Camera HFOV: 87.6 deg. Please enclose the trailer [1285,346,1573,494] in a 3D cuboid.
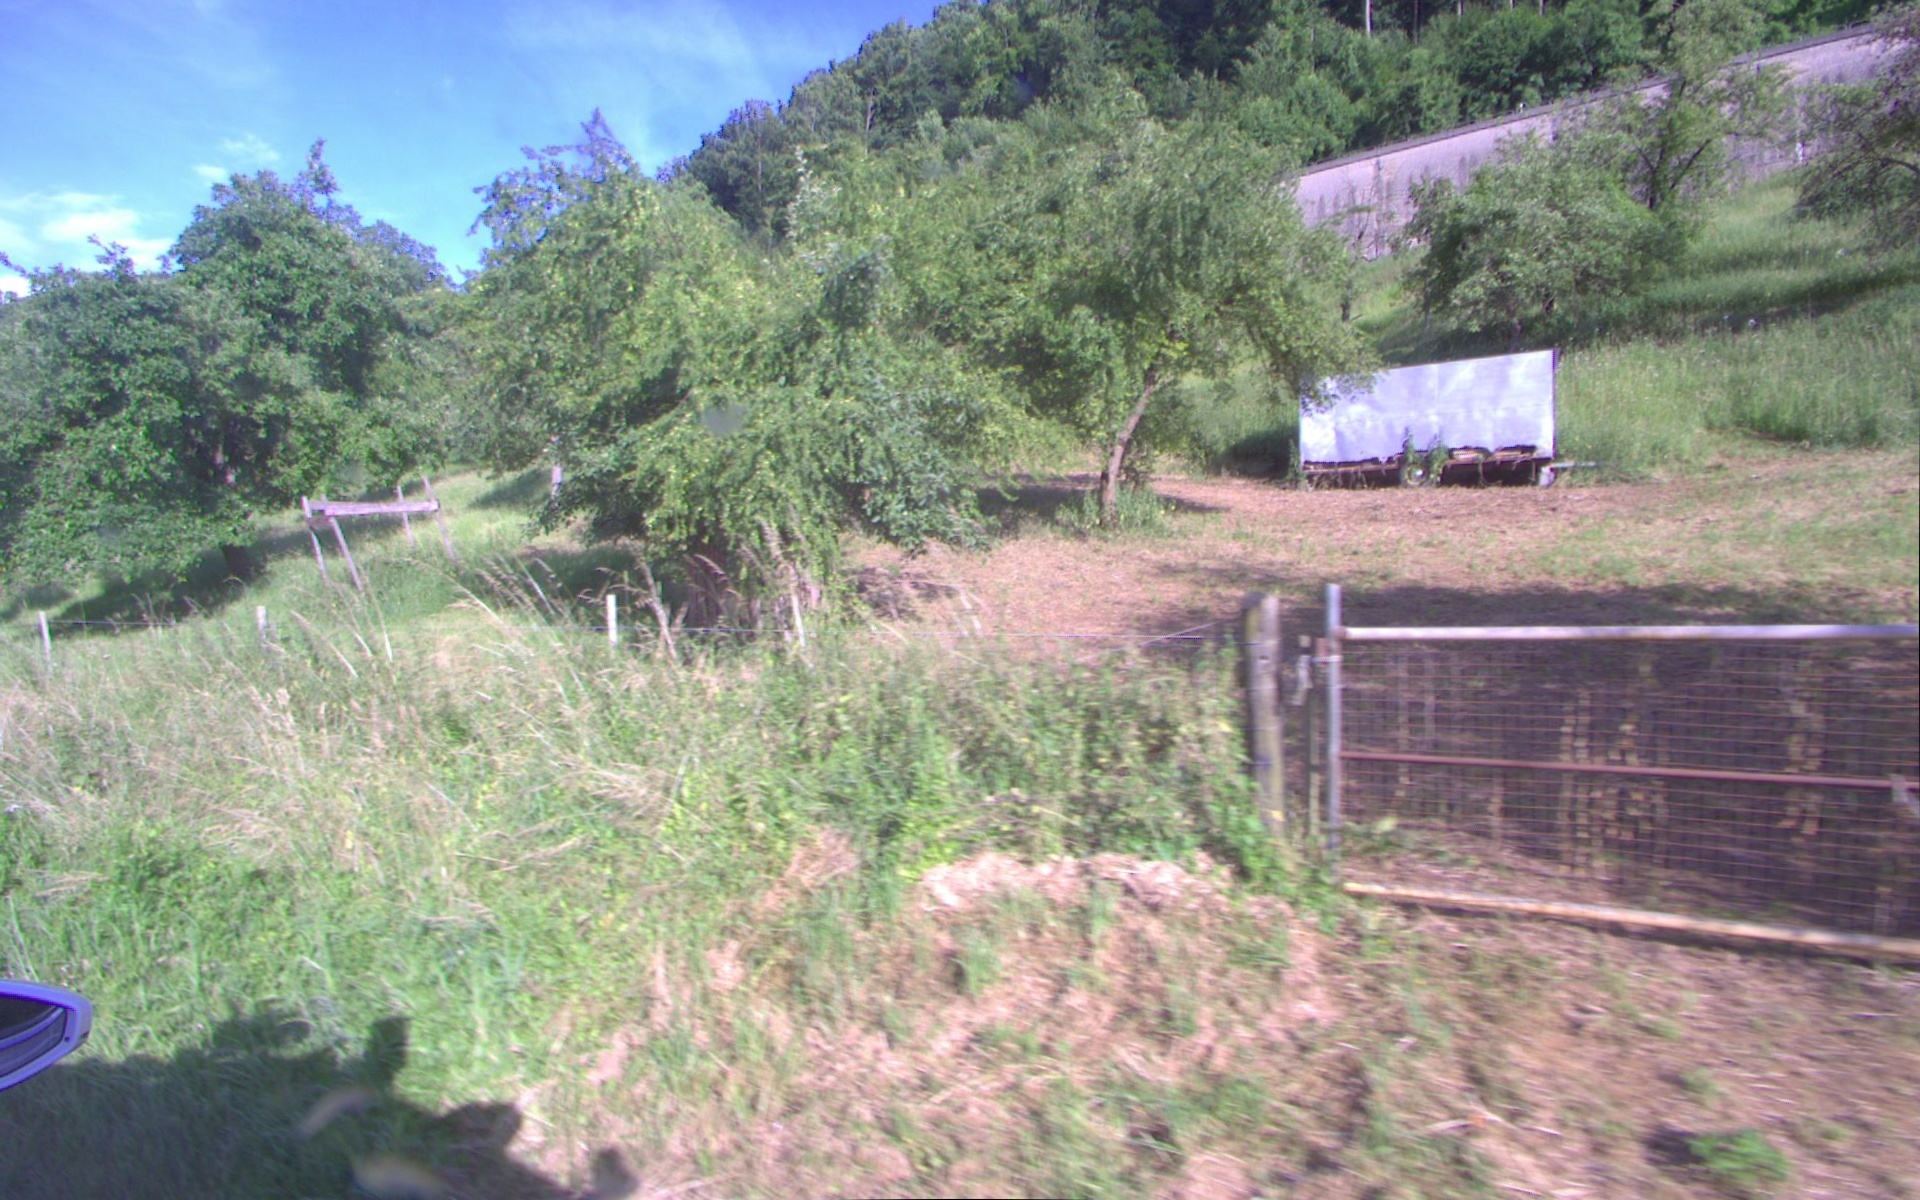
[{"bbox_3d":[9.784,-3.637,21.154,5.164,2.595,2.149,3,4,29],"label":"trailer"}]
